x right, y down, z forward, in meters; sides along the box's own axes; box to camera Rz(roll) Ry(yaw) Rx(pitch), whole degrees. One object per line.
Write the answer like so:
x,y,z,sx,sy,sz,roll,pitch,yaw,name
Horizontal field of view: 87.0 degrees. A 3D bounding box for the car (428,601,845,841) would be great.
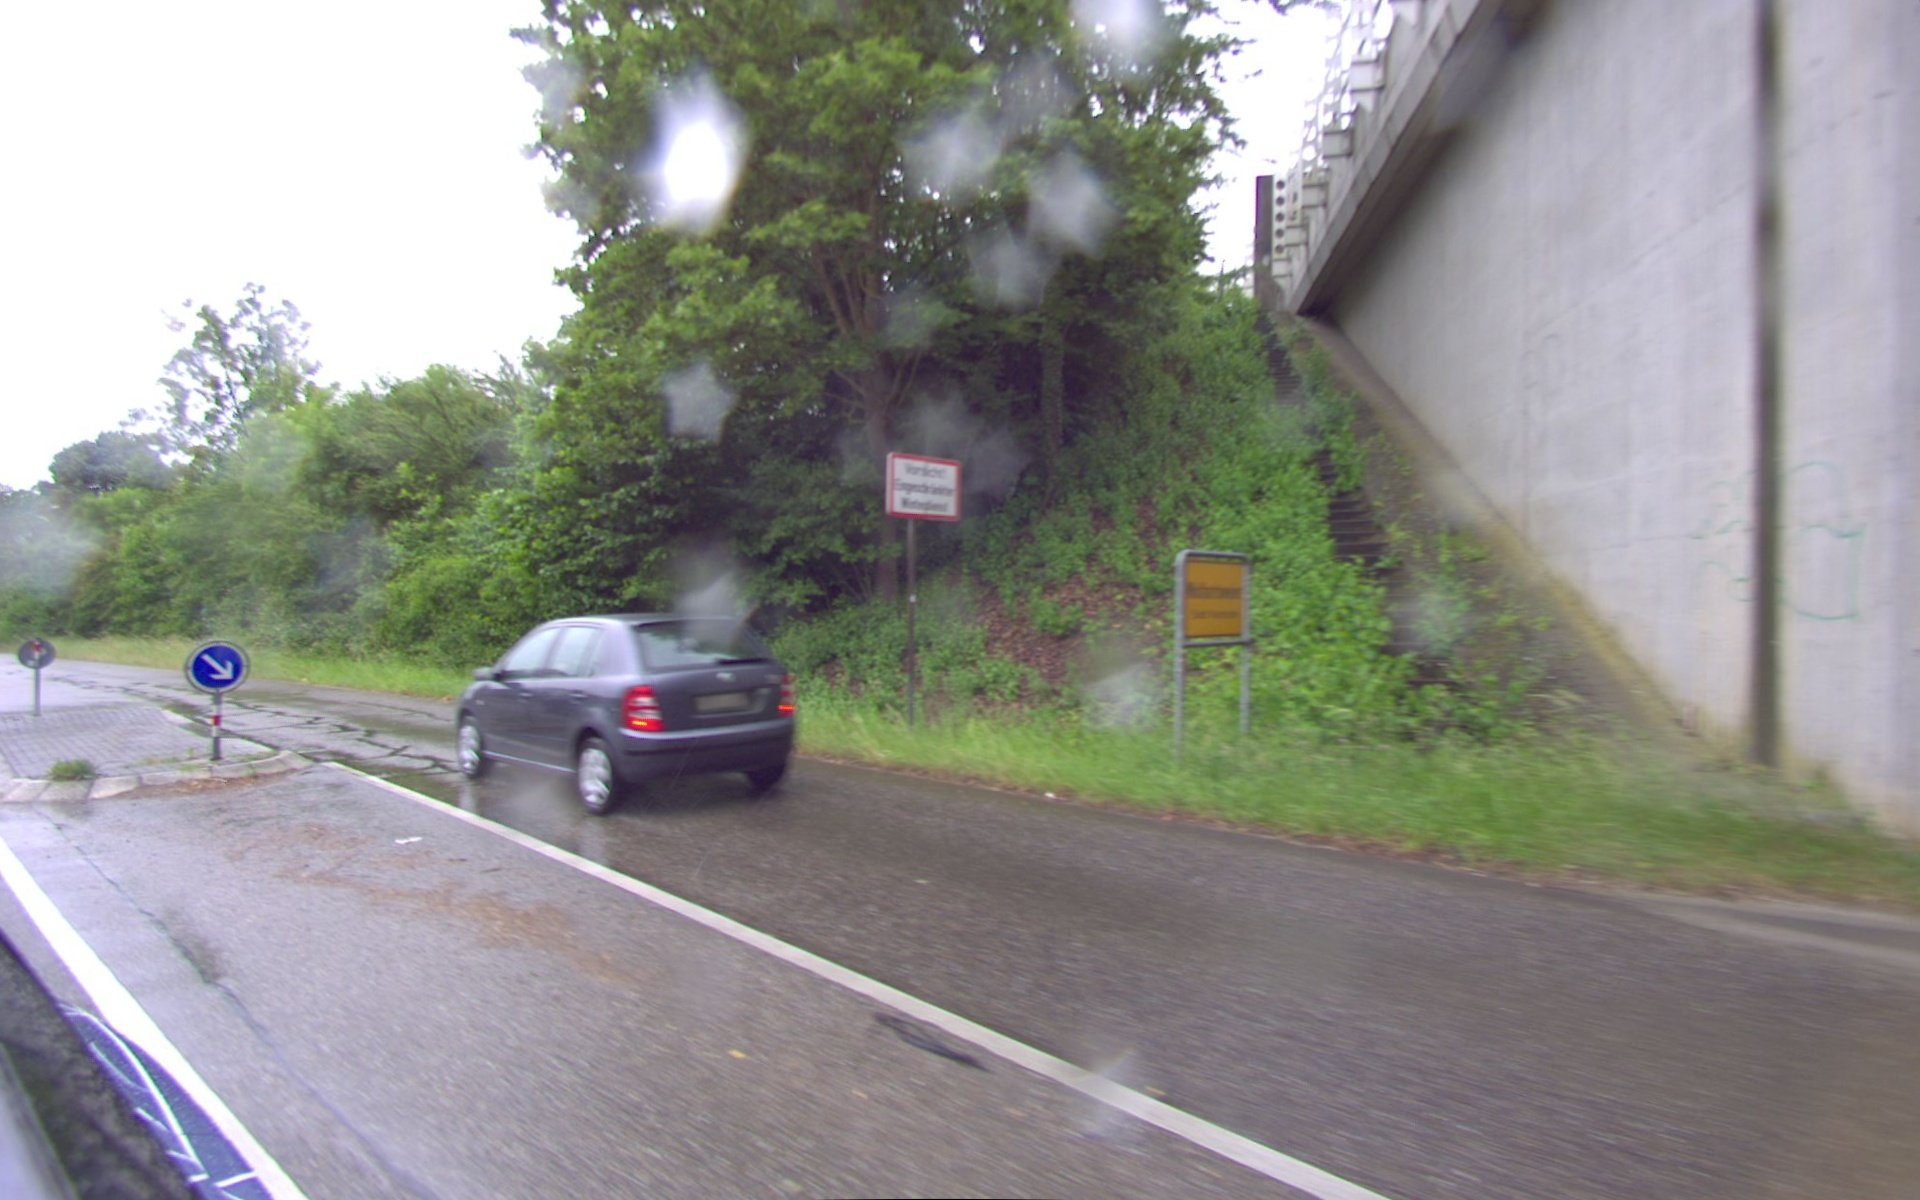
-2.890,0.801,8.476,1.671,1.498,4.075,-1,0,-44,car
